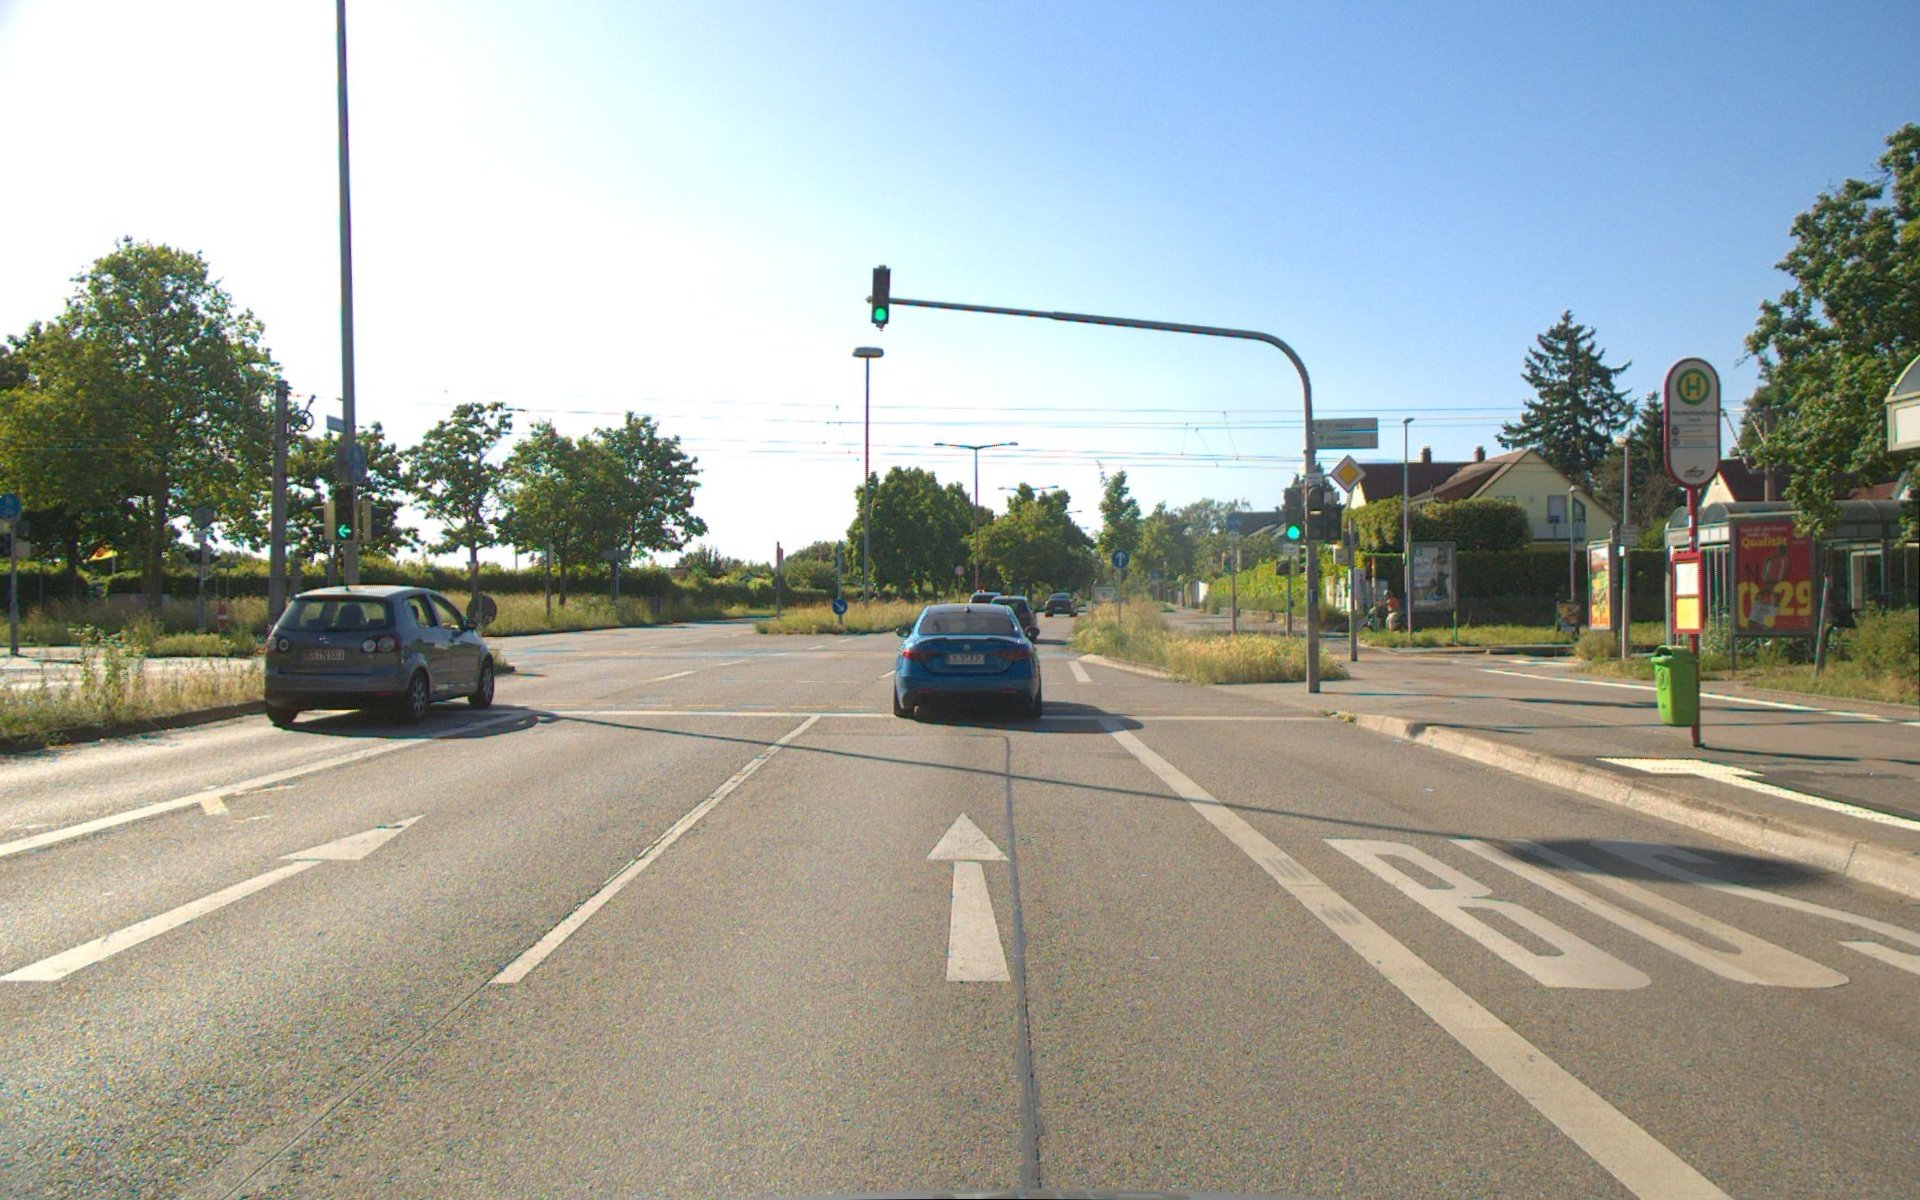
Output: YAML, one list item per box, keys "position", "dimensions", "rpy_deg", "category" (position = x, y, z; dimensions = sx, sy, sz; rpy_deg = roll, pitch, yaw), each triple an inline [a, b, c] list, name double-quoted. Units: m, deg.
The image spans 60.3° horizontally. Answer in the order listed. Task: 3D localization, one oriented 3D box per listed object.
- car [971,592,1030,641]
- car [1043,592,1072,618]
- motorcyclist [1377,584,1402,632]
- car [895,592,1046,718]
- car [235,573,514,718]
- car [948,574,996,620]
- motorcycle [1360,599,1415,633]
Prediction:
- position: [1.411, 0.533, 55.942]
  dimensions: [1.875, 1.607, 4.184]
  rpy_deg: [0, 0, 3]
  category: "car"
- position: [6.146, 0.302, 104.067]
  dimensions: [1.625, 1.607, 3.811]
  rpy_deg: [0, 0, 6]
  category: "car"
- position: [14.313, 0.274, 55.130]
  dimensions: [0.678, 1.585, 0.700]
  rpy_deg: [-1, 0, 6]
  category: "motorcyclist"
- position: [0.133, 0.652, 21.912]
  dimensions: [1.801, 1.500, 4.184]
  rpy_deg: [0, 0, 0]
  category: "car"
- position: [-7.074, 0.530, 20.513]
  dimensions: [1.803, 1.598, 4.387]
  rpy_deg: [0, -1, 1]
  category: "car"
- position: [0.580, -0.138, 76.292]
  dimensions: [1.755, 2.049, 4.003]
  rpy_deg: [0, 0, 6]
  category: "car"
- position: [14.238, 0.522, 55.074]
  dimensions: [1.719, 1.090, 0.452]
  rpy_deg: [-1, 0, 6]
  category: "motorcycle"
